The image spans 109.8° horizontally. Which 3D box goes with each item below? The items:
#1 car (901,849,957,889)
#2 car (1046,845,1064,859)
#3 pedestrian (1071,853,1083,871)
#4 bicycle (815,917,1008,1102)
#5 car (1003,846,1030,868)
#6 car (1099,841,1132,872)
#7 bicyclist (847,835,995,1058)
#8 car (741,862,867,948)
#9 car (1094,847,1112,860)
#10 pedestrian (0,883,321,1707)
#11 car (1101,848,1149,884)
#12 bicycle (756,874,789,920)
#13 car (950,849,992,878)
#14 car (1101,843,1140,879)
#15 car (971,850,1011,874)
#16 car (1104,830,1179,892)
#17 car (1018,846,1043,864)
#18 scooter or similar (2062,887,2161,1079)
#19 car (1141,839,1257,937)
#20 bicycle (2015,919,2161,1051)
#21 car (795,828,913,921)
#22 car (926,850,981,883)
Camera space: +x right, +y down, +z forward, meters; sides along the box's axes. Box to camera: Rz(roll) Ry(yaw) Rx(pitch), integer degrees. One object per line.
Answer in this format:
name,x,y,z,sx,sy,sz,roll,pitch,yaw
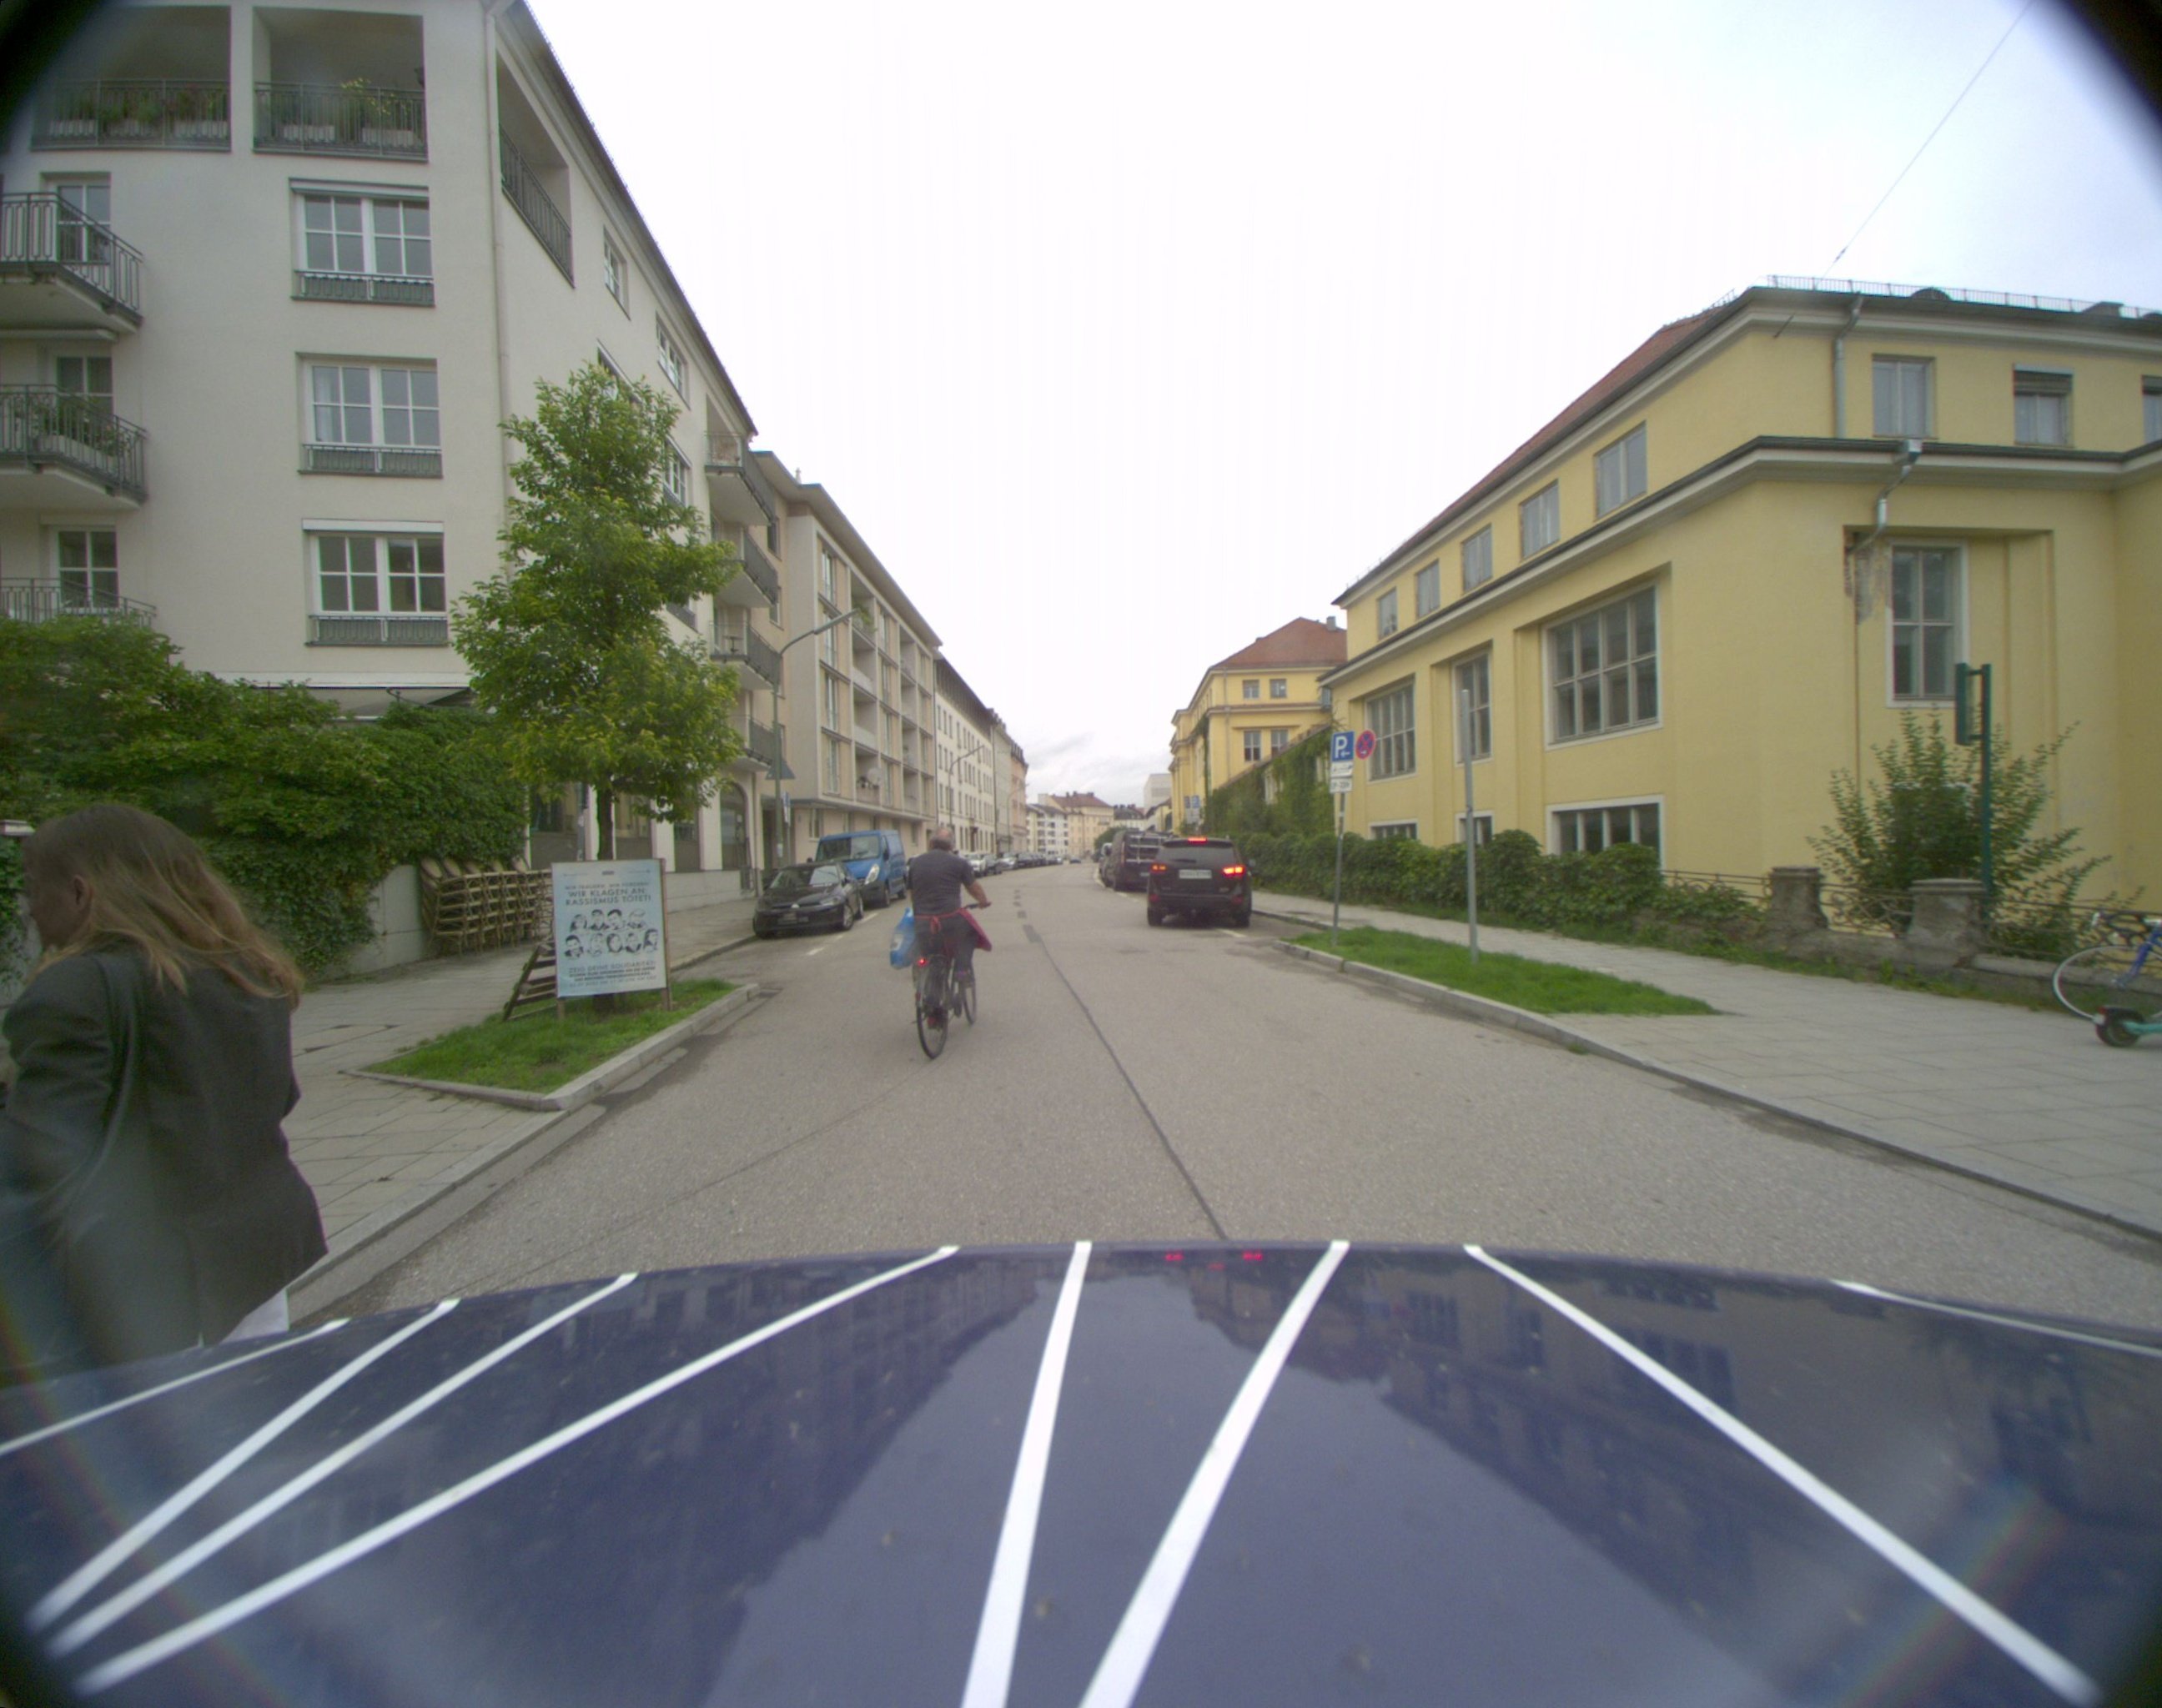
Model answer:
car,-6.752,0.629,34.097,1.780,1.514,4.302,-6,0,-4
car,-3.178,-0.245,94.107,1.768,1.531,4.001,-4,0,2
pedestrian,-0.600,1.279,127.103,1.929,2.933,2.025,0,0,2
bicycle,-1.215,1.112,6.048,0.878,1.013,2.191,-1,0,4
car,-5.112,0.240,60.484,1.618,1.508,3.380,-5,0,3
car,2.158,0.143,48.334,1.897,1.788,4.881,3,0,2
bicyclist,-1.217,0.670,6.021,0.877,1.600,1.049,-1,1,2
car,-5.753,0.971,16.272,1.720,1.387,3.996,-5,1,-10
car,4.198,-0.125,147.708,2.848,2.536,6.890,-1,0,-4
pedestrian,-1.799,0.905,1.236,0.544,1.687,0.665,0,1,-18
car,1.816,0.495,32.484,1.711,1.357,4.001,3,0,0
bicycle,-7.948,1.083,19.626,0.567,1.063,1.785,-1,0,-15
car,-6.386,0.504,44.419,1.706,1.460,4.119,-6,1,0
car,1.915,0.316,37.635,1.706,1.597,4.491,2,0,1
car,-5.777,0.476,49.441,1.831,1.373,4.491,-4,0,2
car,2.040,0.217,26.994,1.931,1.967,4.621,1,0,-4
car,-4.666,0.092,70.159,1.878,1.439,4.700,-3,0,1
scooter or similar,7.608,0.855,5.149,1.263,1.237,0.394,-1,3,5
car,2.556,0.596,15.714,1.997,1.709,4.619,-1,0,12
bicycle,8.277,1.026,5.822,0.435,0.888,1.327,-2,3,-25
car,-6.516,0.457,22.507,2.115,2.201,5.024,-6,3,-4
car,-6.488,0.595,39.235,1.776,1.421,4.693,-6,0,2
